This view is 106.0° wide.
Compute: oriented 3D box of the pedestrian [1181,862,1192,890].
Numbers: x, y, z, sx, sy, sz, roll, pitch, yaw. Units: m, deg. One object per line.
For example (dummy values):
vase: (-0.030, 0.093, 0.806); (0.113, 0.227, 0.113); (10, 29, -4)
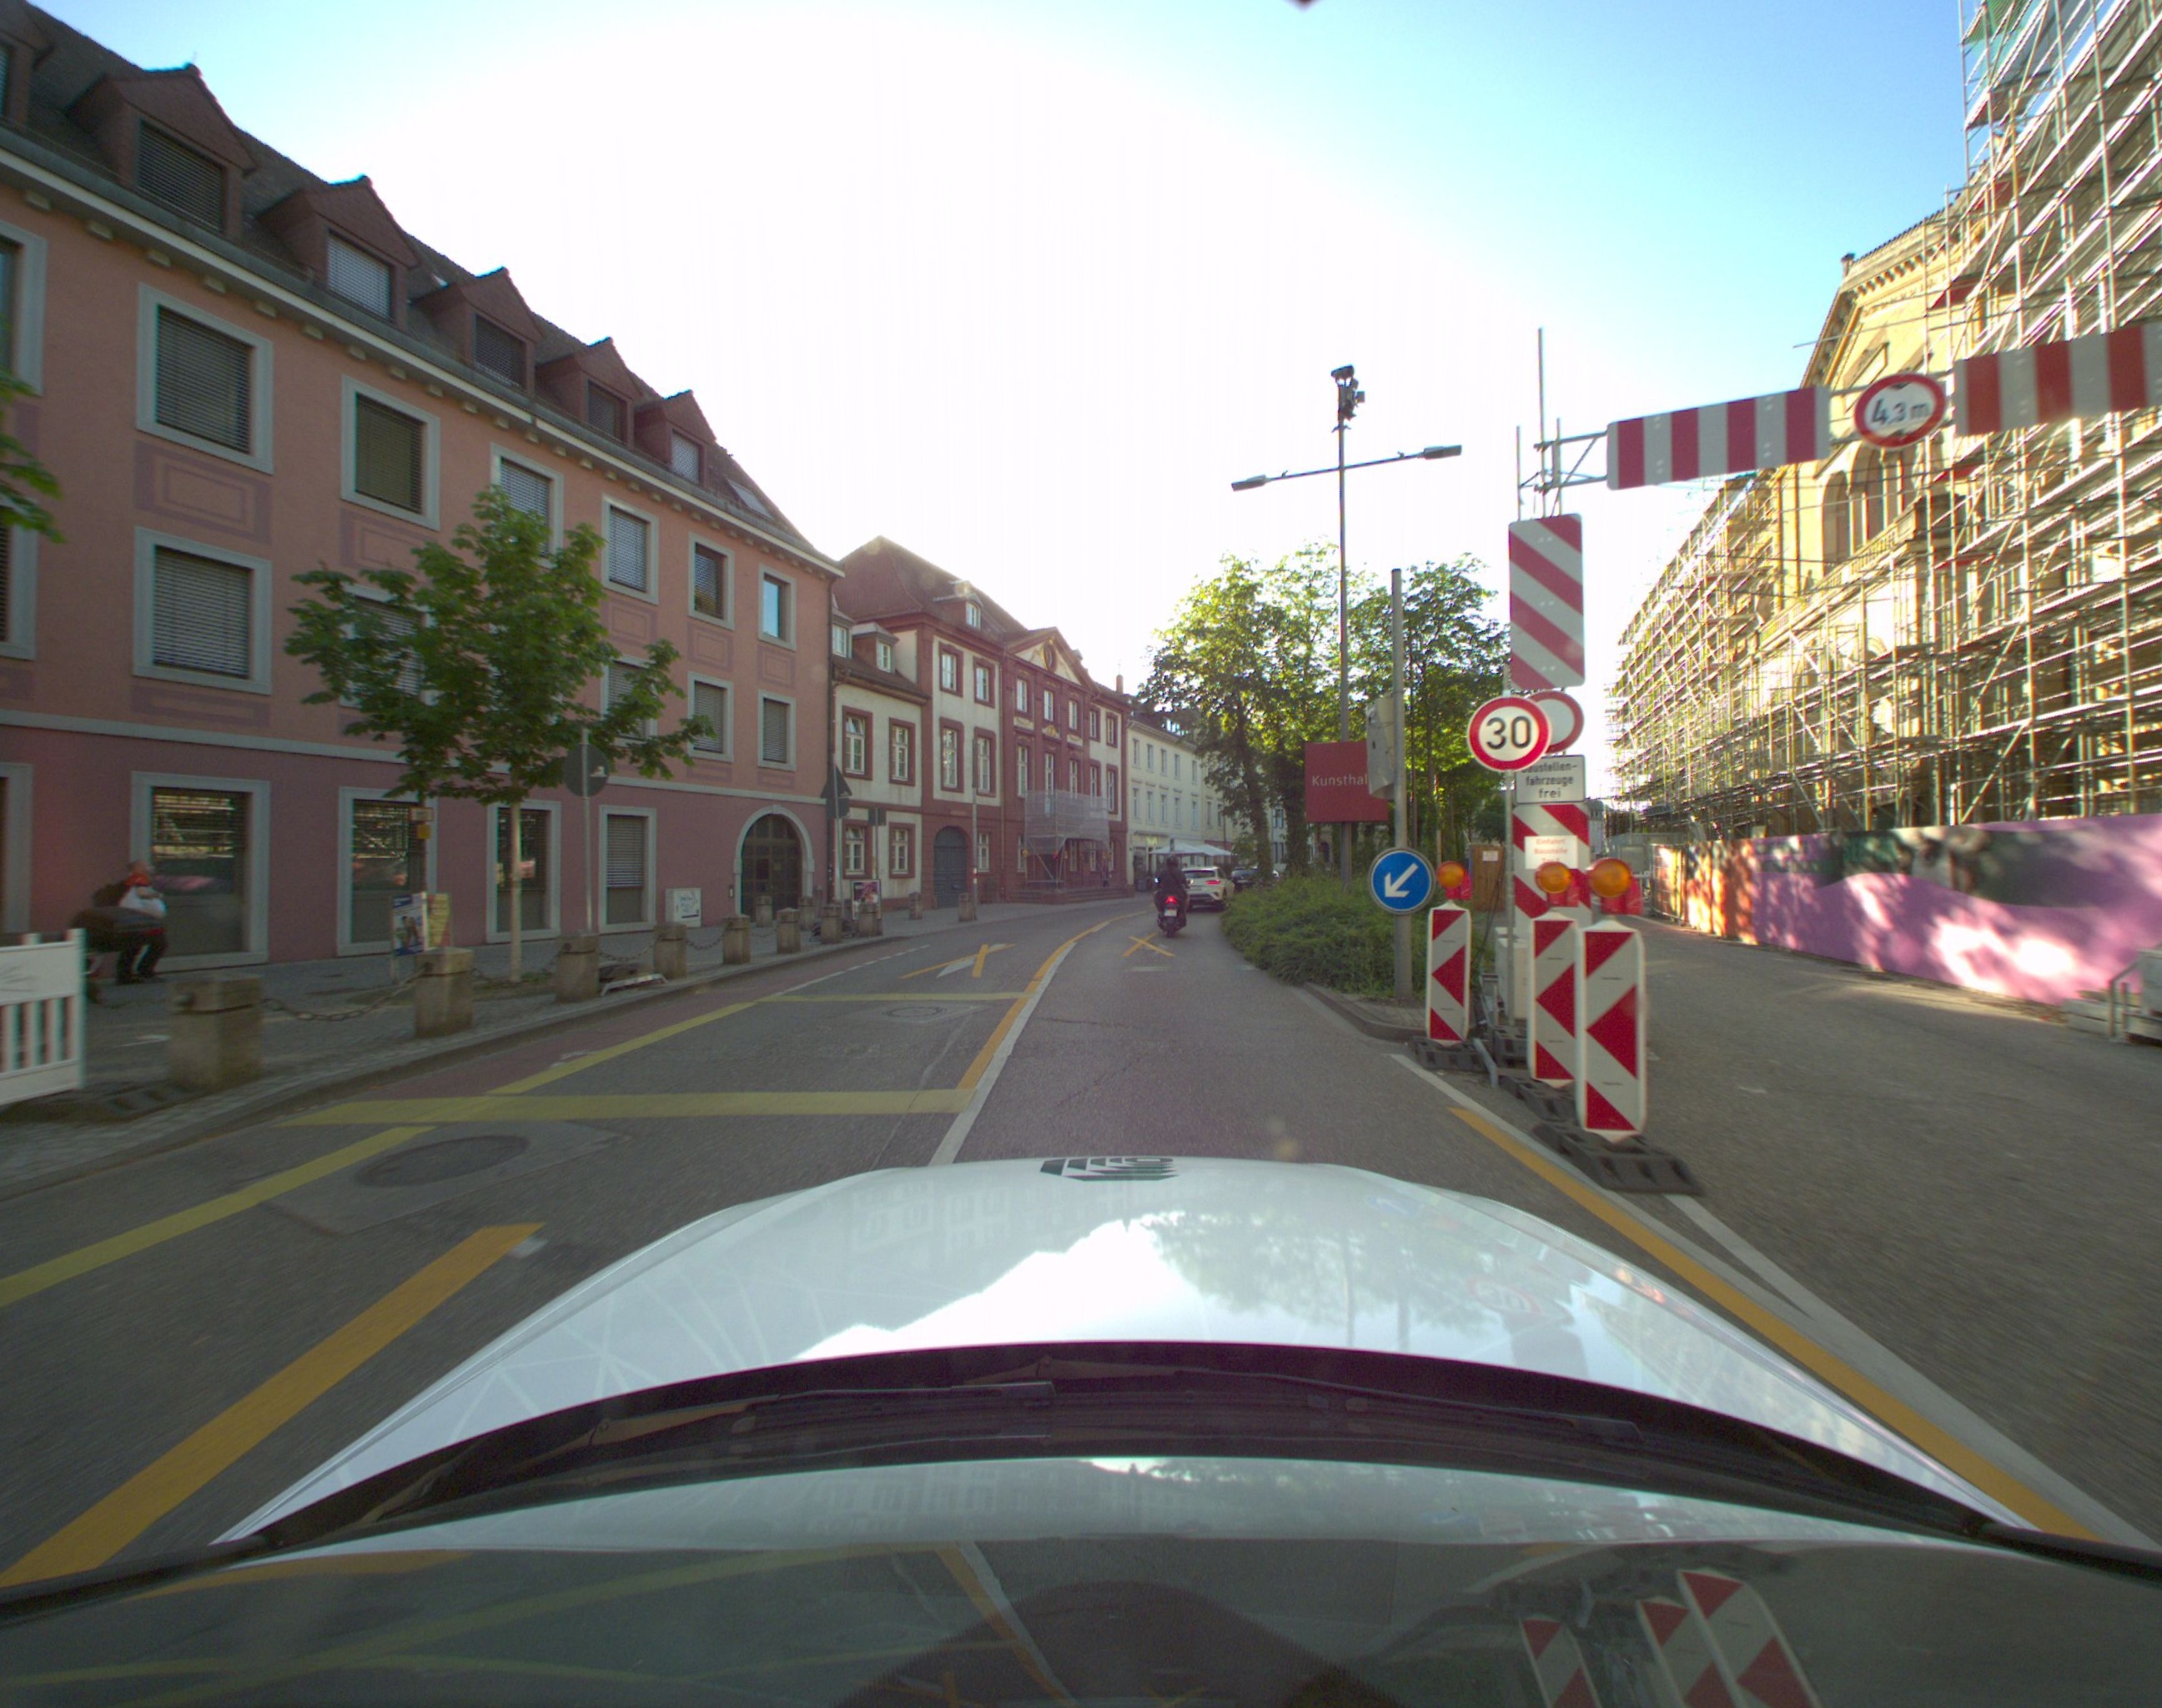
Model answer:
pedestrian: (6.775, 1.428, 52.486); (0.433, 1.775, 0.601); (-2, -2, 39)

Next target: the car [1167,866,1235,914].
car: (4.178, 1.175, 27.916); (1.837, 1.480, 4.073); (0, -1, 15)

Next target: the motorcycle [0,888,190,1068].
motorcycle: (-8.538, 0.957, 6.159); (0.807, 1.317, 2.343); (-1, -1, 10)

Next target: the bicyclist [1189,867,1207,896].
bicyclist: (6.480, 1.492, 45.151); (0.737, 1.583, 0.800); (0, -1, 28)

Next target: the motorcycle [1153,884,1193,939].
motorcycle: (1.923, 1.195, 17.256); (0.793, 1.066, 1.727); (0, -1, 5)

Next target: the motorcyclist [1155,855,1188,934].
motorcyclist: (1.917, 0.850, 17.365); (0.654, 1.650, 0.651); (-1, -1, 3)

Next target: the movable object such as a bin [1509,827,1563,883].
movable object such as a bin: (39.602, 0.165, 70.757); (3.275, 4.540, 7.954); (-2, -2, 34)

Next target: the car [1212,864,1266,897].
car: (7.517, 1.206, 38.366); (1.824, 1.464, 4.078); (0, -1, 21)

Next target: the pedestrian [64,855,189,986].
pedestrian: (-13.020, 0.871, 11.128); (0.784, 1.689, 0.873); (0, -1, 23)

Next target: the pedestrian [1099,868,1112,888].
pedestrian: (1.315, 1.262, 43.623); (0.532, 1.053, 0.554); (0, -1, 22)

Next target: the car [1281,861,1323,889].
car: (14.477, 1.339, 53.176); (1.823, 1.713, 4.081); (0, -1, 27)
